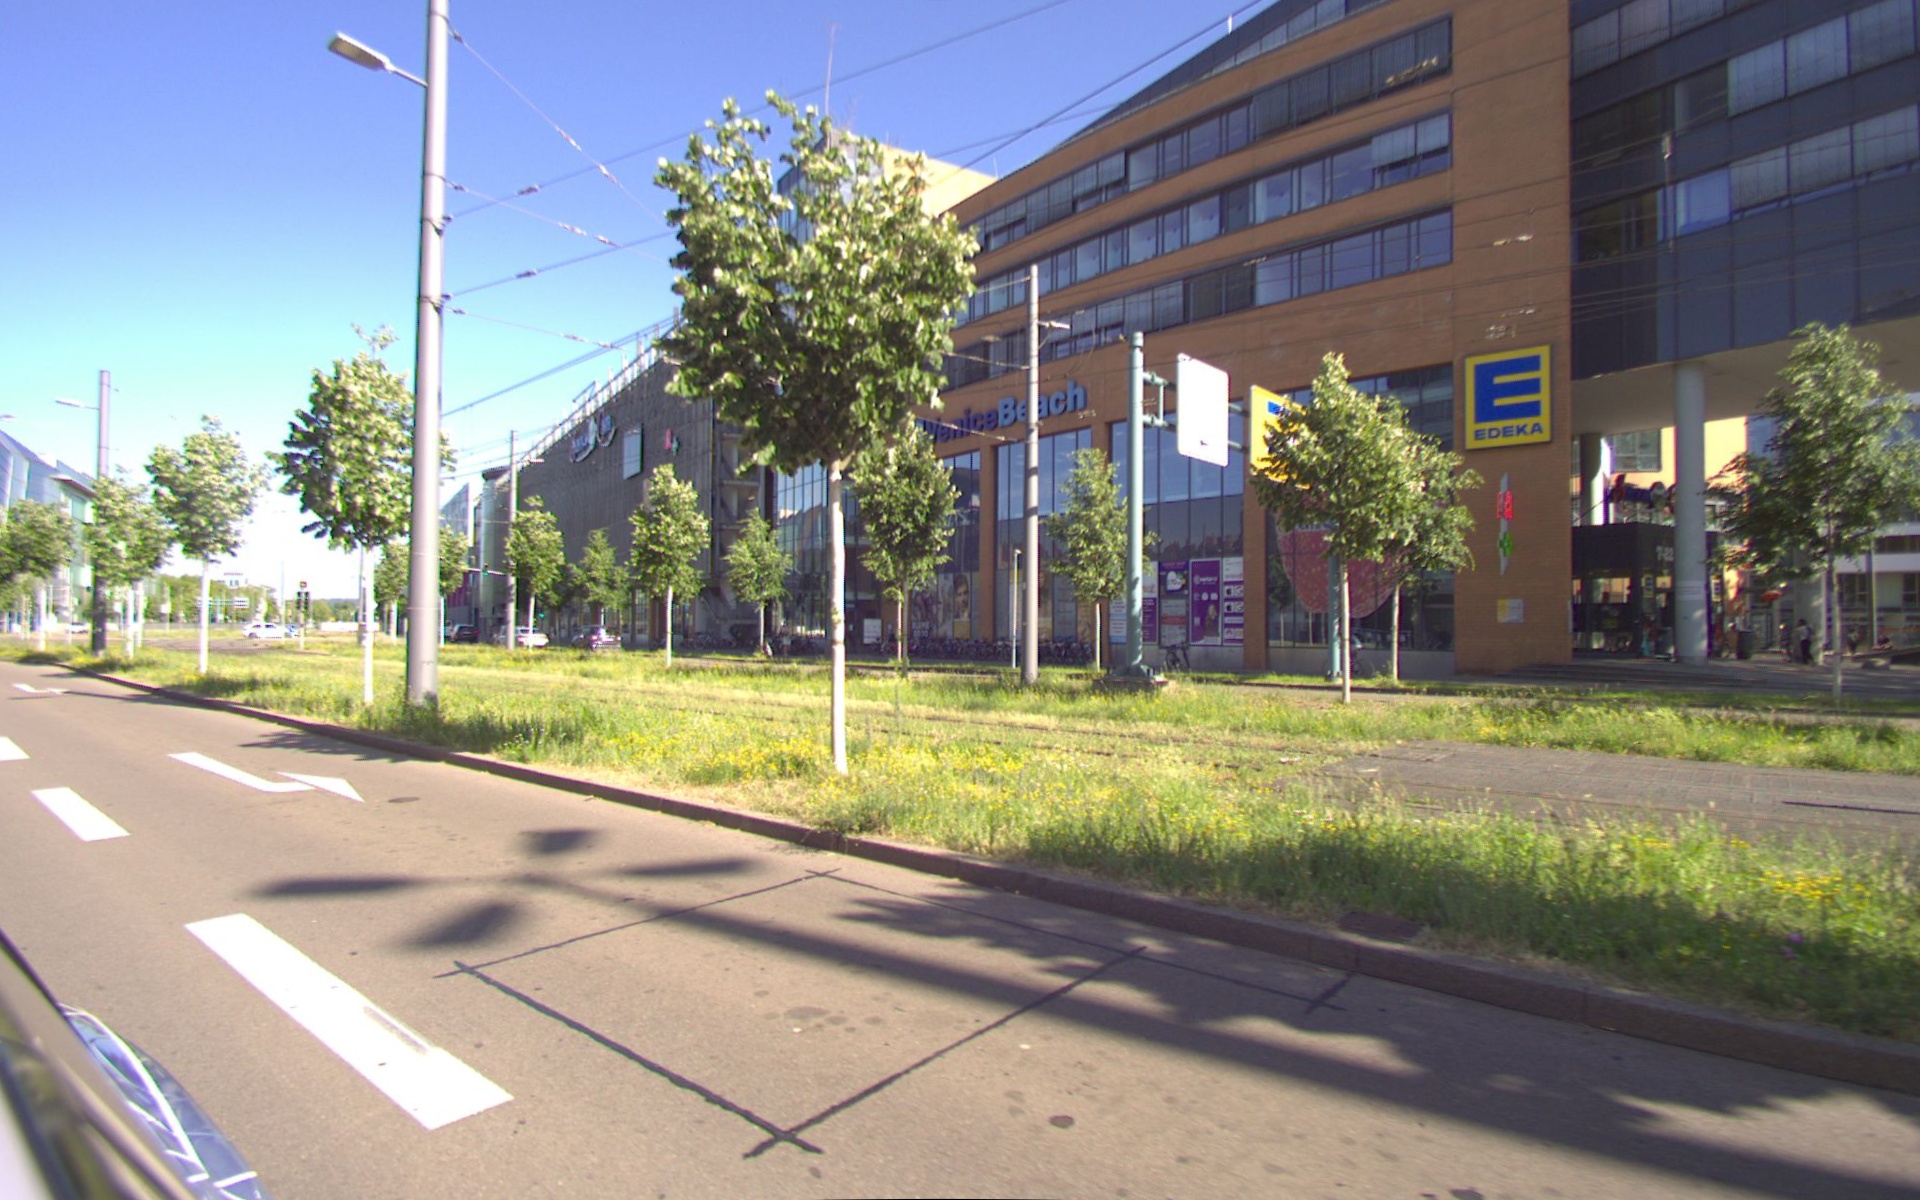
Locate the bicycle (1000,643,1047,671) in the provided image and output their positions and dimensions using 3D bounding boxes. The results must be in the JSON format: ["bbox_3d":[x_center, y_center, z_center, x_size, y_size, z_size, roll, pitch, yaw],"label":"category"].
[{"bbox_3d":[2.828,2.499,44.771,2.146,1.132,0.754,0,-2,-40],"label":"bicycle"}]

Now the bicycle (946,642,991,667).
[{"bbox_3d":[0.422,2.562,48.026,2.146,1.132,0.754,0,-2,-40],"label":"bicycle"}]

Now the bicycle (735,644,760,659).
[{"bbox_3d":[-12.940,3.134,61.650,1.428,0.825,0.446,0,-2,-40],"label":"bicycle"}]

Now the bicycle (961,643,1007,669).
[{"bbox_3d":[1.090,2.544,46.428,2.146,1.132,0.754,0,-2,-40],"label":"bicycle"}]

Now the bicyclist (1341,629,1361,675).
[{"bbox_3d":[12.174,1.617,31.532,0.481,1.387,0.337,0,-1,40],"label":"bicyclist"}]

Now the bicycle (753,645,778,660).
[{"bbox_3d":[-11.410,3.065,59.352,1.428,0.825,0.446,0,-2,-40],"label":"bicycle"}]

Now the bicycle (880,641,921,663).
[{"bbox_3d":[-3.129,2.744,53.559,2.146,1.132,0.754,0,-2,-40],"label":"bicycle"}]

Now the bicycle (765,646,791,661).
[{"bbox_3d":[-10.438,3.075,58.053,1.428,0.825,0.446,0,-2,-40],"label":"bicycle"}]

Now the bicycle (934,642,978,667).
[{"bbox_3d":[-0.192,2.595,48.833,2.146,1.132,0.754,0,-2,-40],"label":"bicycle"}]

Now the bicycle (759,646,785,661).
[{"bbox_3d":[-10.862,3.073,58.545,1.428,0.825,0.446,0,-2,-40],"label":"bicycle"}]

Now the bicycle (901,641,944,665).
[{"bbox_3d":[-1.881,2.663,51.292,2.146,1.132,0.754,0,-2,-40],"label":"bicycle"}]

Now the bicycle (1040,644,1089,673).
[{"bbox_3d":[4.412,2.431,42.490,2.146,1.132,0.754,0,-2,-40],"label":"bicycle"}]

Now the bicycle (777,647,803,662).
[{"bbox_3d":[-9.634,3.065,57.252,1.428,0.825,0.446,0,-2,-40],"label":"bicycle"}]

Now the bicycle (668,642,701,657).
[{"bbox_3d":[-18.572,3.307,68.246,2.146,0.962,0.494,0,-2,-40],"label":"bicycle"}]

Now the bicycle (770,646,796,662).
[{"bbox_3d":[-10.065,3.079,57.647,1.428,0.825,0.446,0,-2,-40],"label":"bicycle"}]

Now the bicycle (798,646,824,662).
[{"bbox_3d":[-8.245,2.968,56.102,1.428,0.825,0.446,0,-2,-40],"label":"bicycle"}]

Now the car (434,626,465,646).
[{"bbox_3d":[-53.150,3.789,105.470,2.189,2.029,5.272,1,-2,-20],"label":"car"}]

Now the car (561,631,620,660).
[{"bbox_3d":[-18.115,2.203,49.597,3.296,1.370,1.412,-2,-3,44],"label":"car"}]

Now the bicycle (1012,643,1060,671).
[{"bbox_3d":[3.327,2.478,43.958,2.146,1.132,0.754,0,-2,-40],"label":"bicycle"}]

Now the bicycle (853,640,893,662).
[{"bbox_3d":[-4.746,2.773,55.263,2.146,1.132,0.754,0,-2,-40],"label":"bicycle"}]

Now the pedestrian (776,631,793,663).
[{"bbox_3d":[-9.497,2.521,54.782,0.778,1.698,0.589,-2,-3,43],"label":"pedestrian"}]

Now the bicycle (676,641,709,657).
[{"bbox_3d":[-17.796,3.261,67.339,2.146,0.962,0.494,0,-2,-40],"label":"bicycle"}]

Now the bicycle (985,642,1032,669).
[{"bbox_3d":[2.180,2.506,45.562,2.146,1.132,0.754,0,-2,-40],"label":"bicycle"}]

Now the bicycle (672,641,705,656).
[{"bbox_3d":[-18.198,3.266,67.818,2.146,0.962,0.494,0,-2,-40],"label":"bicycle"}]

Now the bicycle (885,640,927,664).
[{"bbox_3d":[-2.788,2.694,52.676,2.146,1.132,0.754,0,-2,-40],"label":"bicycle"}]

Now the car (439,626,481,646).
[{"bbox_3d":[-43.448,3.081,87.916,1.970,1.694,4.542,2,-3,-43],"label":"car"}]

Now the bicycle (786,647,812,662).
[{"bbox_3d":[-8.992,3.043,56.658,1.428,0.825,0.446,0,-2,-40],"label":"bicycle"}]

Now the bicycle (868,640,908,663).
[{"bbox_3d":[-3.866,2.761,54.601,2.146,1.132,0.754,0,-2,-40],"label":"bicycle"}]

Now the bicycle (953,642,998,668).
[{"bbox_3d":[0.733,2.558,47.252,2.146,1.132,0.754,0,-2,-40],"label":"bicycle"}]

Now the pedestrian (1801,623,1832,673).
[{"bbox_3d":[28.796,1.611,34.019,0.788,1.636,0.501,0,-1,41],"label":"pedestrian"}]

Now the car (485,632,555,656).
[{"bbox_3d":[-25.288,2.507,58.072,4.791,1.344,1.971,-2,-3,44],"label":"car"}]

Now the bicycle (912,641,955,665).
[{"bbox_3d":[-1.327,2.648,50.441,2.146,1.132,0.754,0,-2,-40],"label":"bicycle"}]

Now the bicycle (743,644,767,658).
[{"bbox_3d":[-12.367,3.069,61.080,1.428,0.825,0.446,0,-2,-40],"label":"bicycle"}]

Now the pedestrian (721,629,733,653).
[{"bbox_3d":[-15.233,2.674,66.192,0.626,1.565,0.663,1,-2,-28],"label":"pedestrian"}]

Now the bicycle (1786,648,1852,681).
[{"bbox_3d":[31.367,2.335,36.976,1.802,1.143,0.488,-2,-3,41],"label":"bicycle"}]

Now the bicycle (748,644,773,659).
[{"bbox_3d":[-11.968,3.072,60.714,1.428,0.825,0.446,0,-2,-40],"label":"bicycle"}]

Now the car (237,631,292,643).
[{"bbox_3d":[-64.470,3.406,93.912,3.930,1.098,2.006,1,-2,-25],"label":"car"}]

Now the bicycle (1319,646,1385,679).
[{"bbox_3d":[12.196,1.943,31.509,1.894,0.933,0.349,0,-1,40],"label":"bicycle"}]

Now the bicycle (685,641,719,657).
[{"bbox_3d":[-16.940,3.202,66.405,2.146,0.962,0.494,0,-2,-40],"label":"bicycle"}]

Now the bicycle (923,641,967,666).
[{"bbox_3d":[-0.713,2.624,49.598,2.146,1.132,0.754,0,-2,-40],"label":"bicycle"}]
